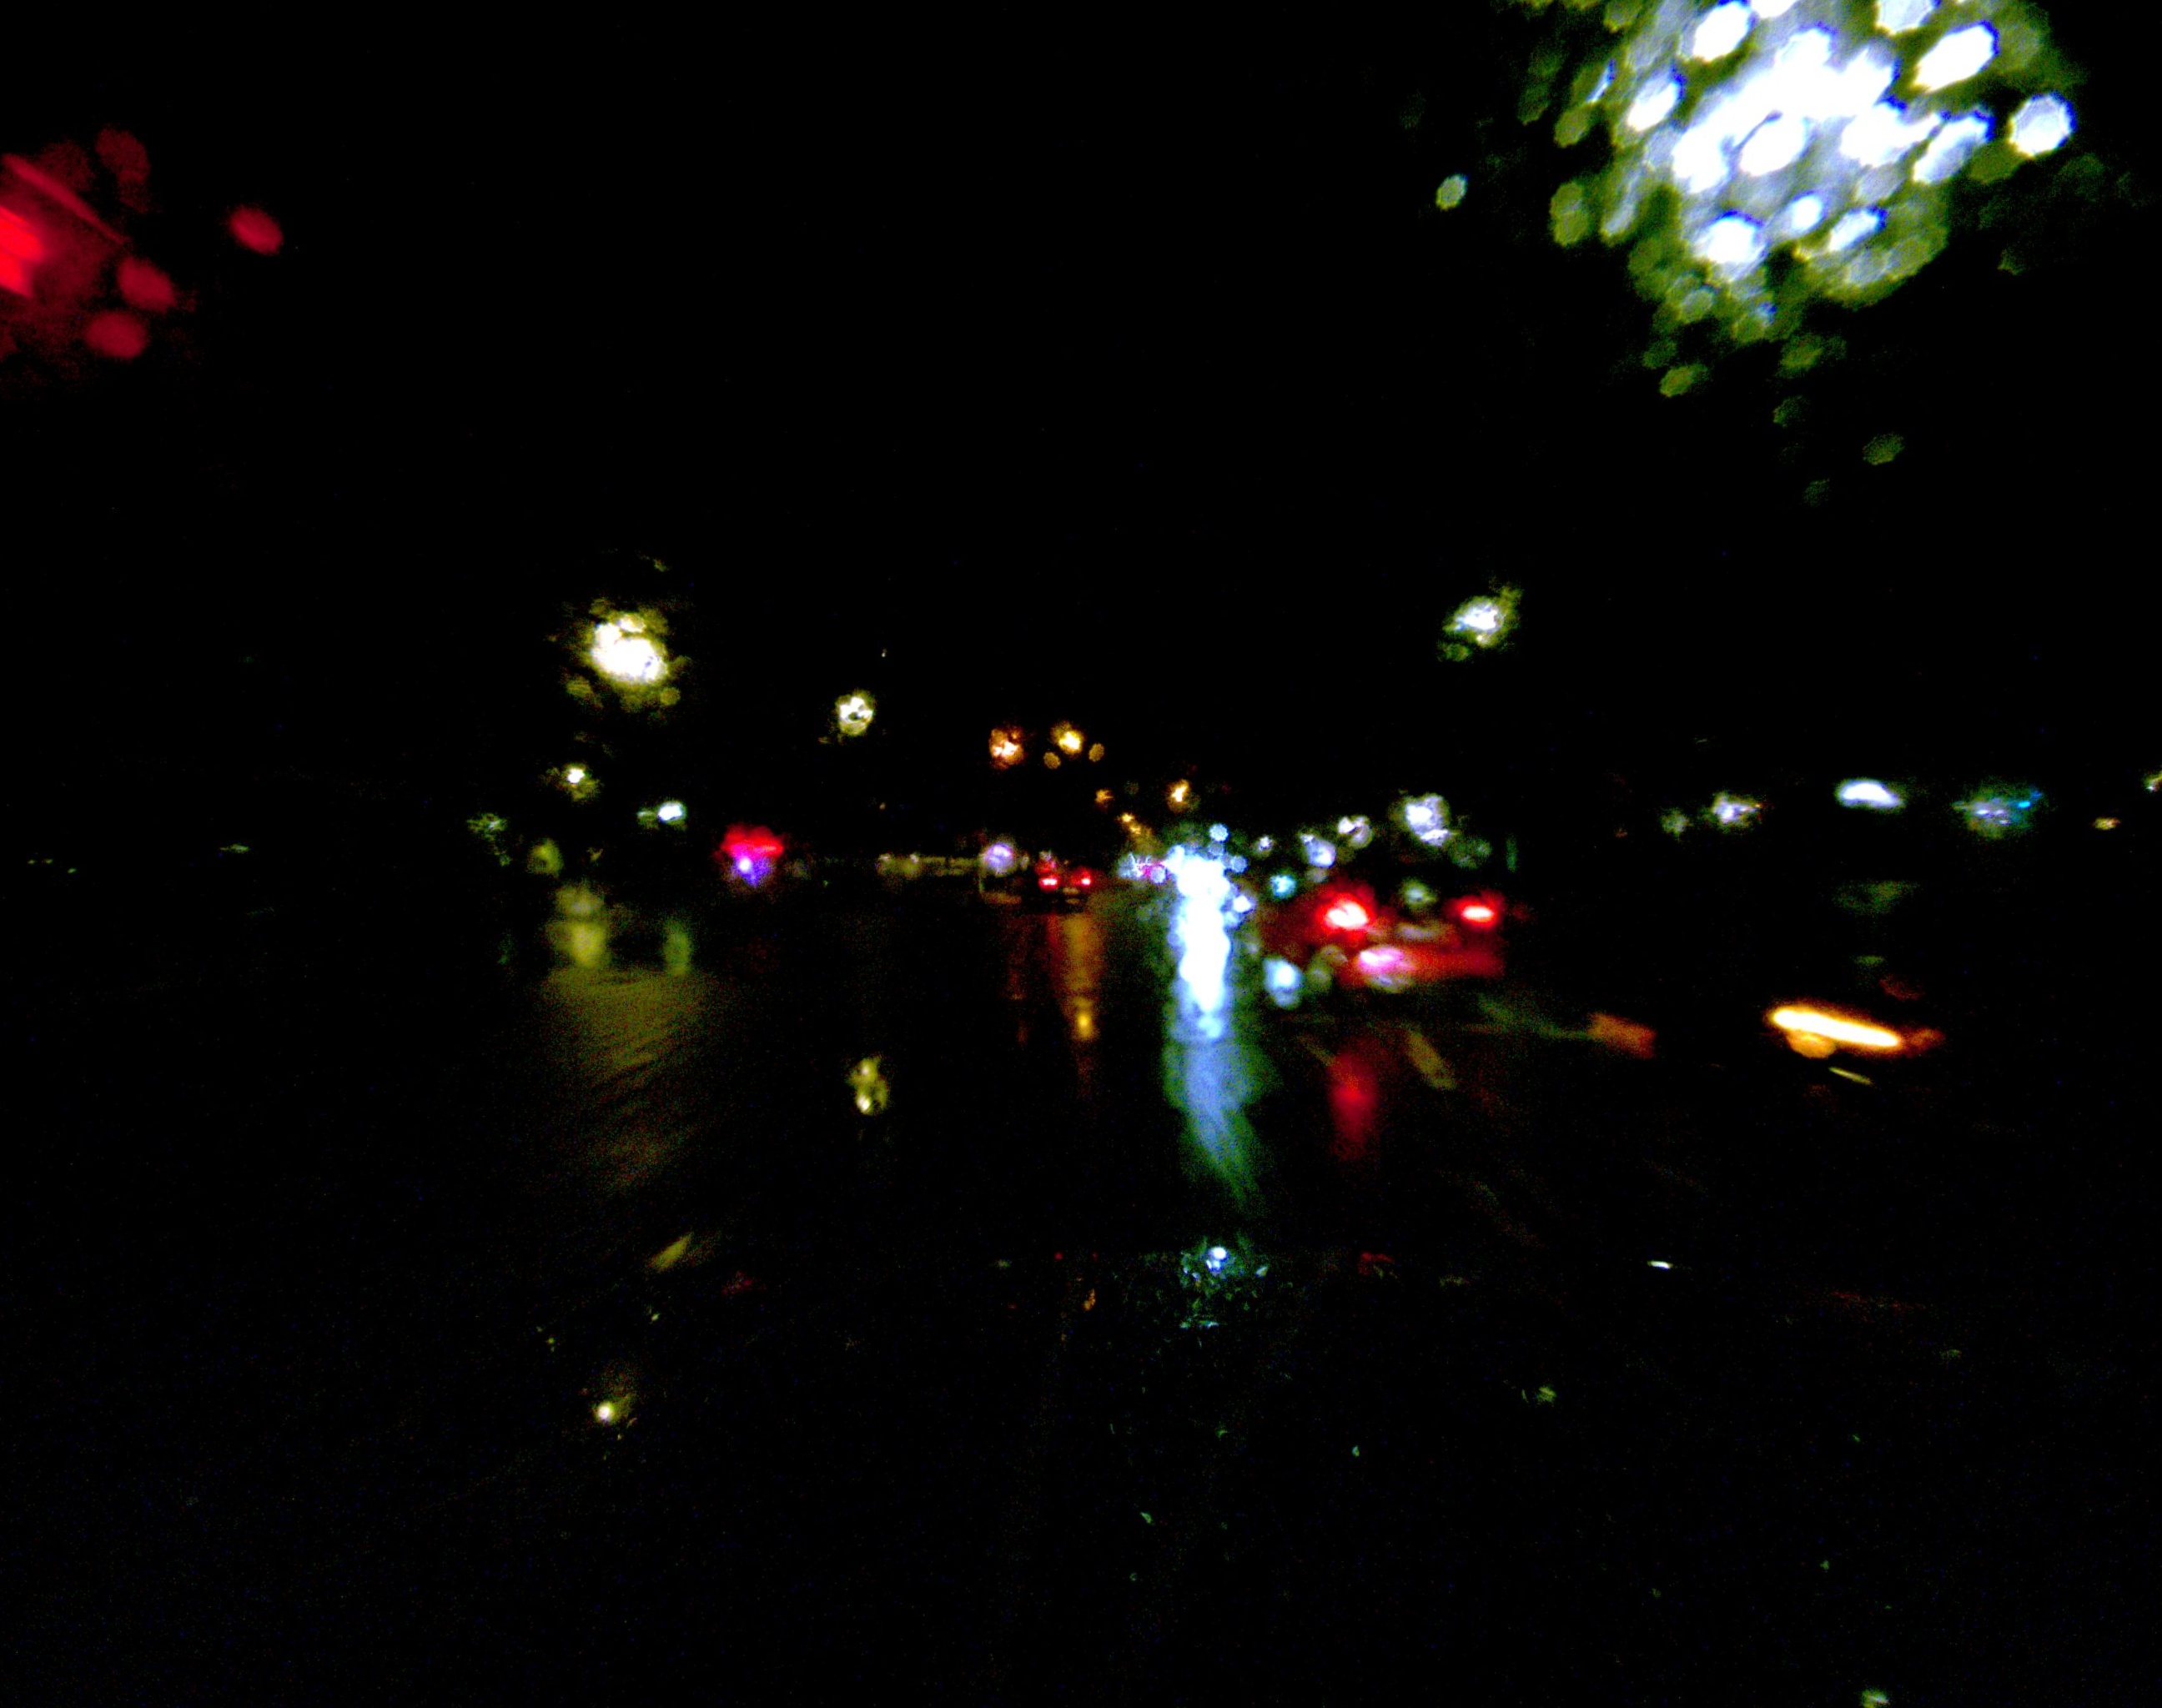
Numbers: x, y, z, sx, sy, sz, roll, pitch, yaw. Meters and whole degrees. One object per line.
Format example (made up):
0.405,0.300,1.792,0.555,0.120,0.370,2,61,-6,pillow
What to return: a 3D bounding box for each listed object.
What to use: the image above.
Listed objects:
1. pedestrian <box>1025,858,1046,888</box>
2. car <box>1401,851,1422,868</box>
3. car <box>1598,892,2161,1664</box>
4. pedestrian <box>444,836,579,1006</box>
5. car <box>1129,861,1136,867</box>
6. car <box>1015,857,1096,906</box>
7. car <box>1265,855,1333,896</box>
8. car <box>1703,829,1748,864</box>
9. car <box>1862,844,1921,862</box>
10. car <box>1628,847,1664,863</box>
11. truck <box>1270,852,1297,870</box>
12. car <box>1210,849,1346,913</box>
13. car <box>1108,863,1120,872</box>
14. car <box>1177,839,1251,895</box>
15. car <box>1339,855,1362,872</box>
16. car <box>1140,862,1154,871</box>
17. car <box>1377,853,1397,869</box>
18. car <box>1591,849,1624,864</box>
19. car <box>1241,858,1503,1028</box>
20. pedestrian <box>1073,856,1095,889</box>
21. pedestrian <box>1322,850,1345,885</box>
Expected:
-2.781,1.153,46.200,1.109,1.814,0.851,-1,-1,6,pedestrian
35.656,0.616,81.920,1.866,1.750,4.502,-2,-1,24,car
2.940,0.866,1.057,1.673,1.412,4.097,-1,0,1,car
-7.168,0.802,9.628,1.016,2.001,0.976,-1,0,-12,pedestrian
14.156,2.773,207.870,1.799,1.464,3.953,0,-1,3,car
-0.971,0.895,26.288,1.713,1.533,3.983,-1,0,-18,car
8.398,0.794,29.618,1.767,1.478,4.062,-1,0,5,car
52.292,-0.566,61.728,1.715,2.715,4.362,-2,-1,25,car
68.750,-0.087,64.537,1.866,1.434,4.502,-2,-1,24,car
54.273,0.136,73.027,1.866,1.434,4.502,-2,-1,24,car
23.346,0.834,87.487,2.125,2.001,5.272,-2,-1,24,truck
5.261,0.682,21.042,1.824,1.533,4.722,-1,0,-10,car
5.792,2.376,131.950,1.826,1.521,4.785,0,-1,5,car
5.018,0.535,29.354,2.039,1.941,5.201,-1,-1,1,car
26.134,0.912,73.652,1.715,1.511,3.926,-2,-1,25,car
11.181,2.189,128.419,1.857,1.490,4.770,-1,-1,0,car
33.655,0.771,83.494,1.866,1.603,4.502,-2,-1,24,car
51.474,0.242,74.304,1.866,1.434,4.502,-2,-1,24,car
3.124,0.845,9.068,1.672,1.553,4.008,-1,0,2,car
0.174,1.028,42.199,1.109,1.814,0.852,-1,-1,8,pedestrian
12.778,0.678,38.389,0.769,1.726,0.972,-1,0,39,pedestrian
